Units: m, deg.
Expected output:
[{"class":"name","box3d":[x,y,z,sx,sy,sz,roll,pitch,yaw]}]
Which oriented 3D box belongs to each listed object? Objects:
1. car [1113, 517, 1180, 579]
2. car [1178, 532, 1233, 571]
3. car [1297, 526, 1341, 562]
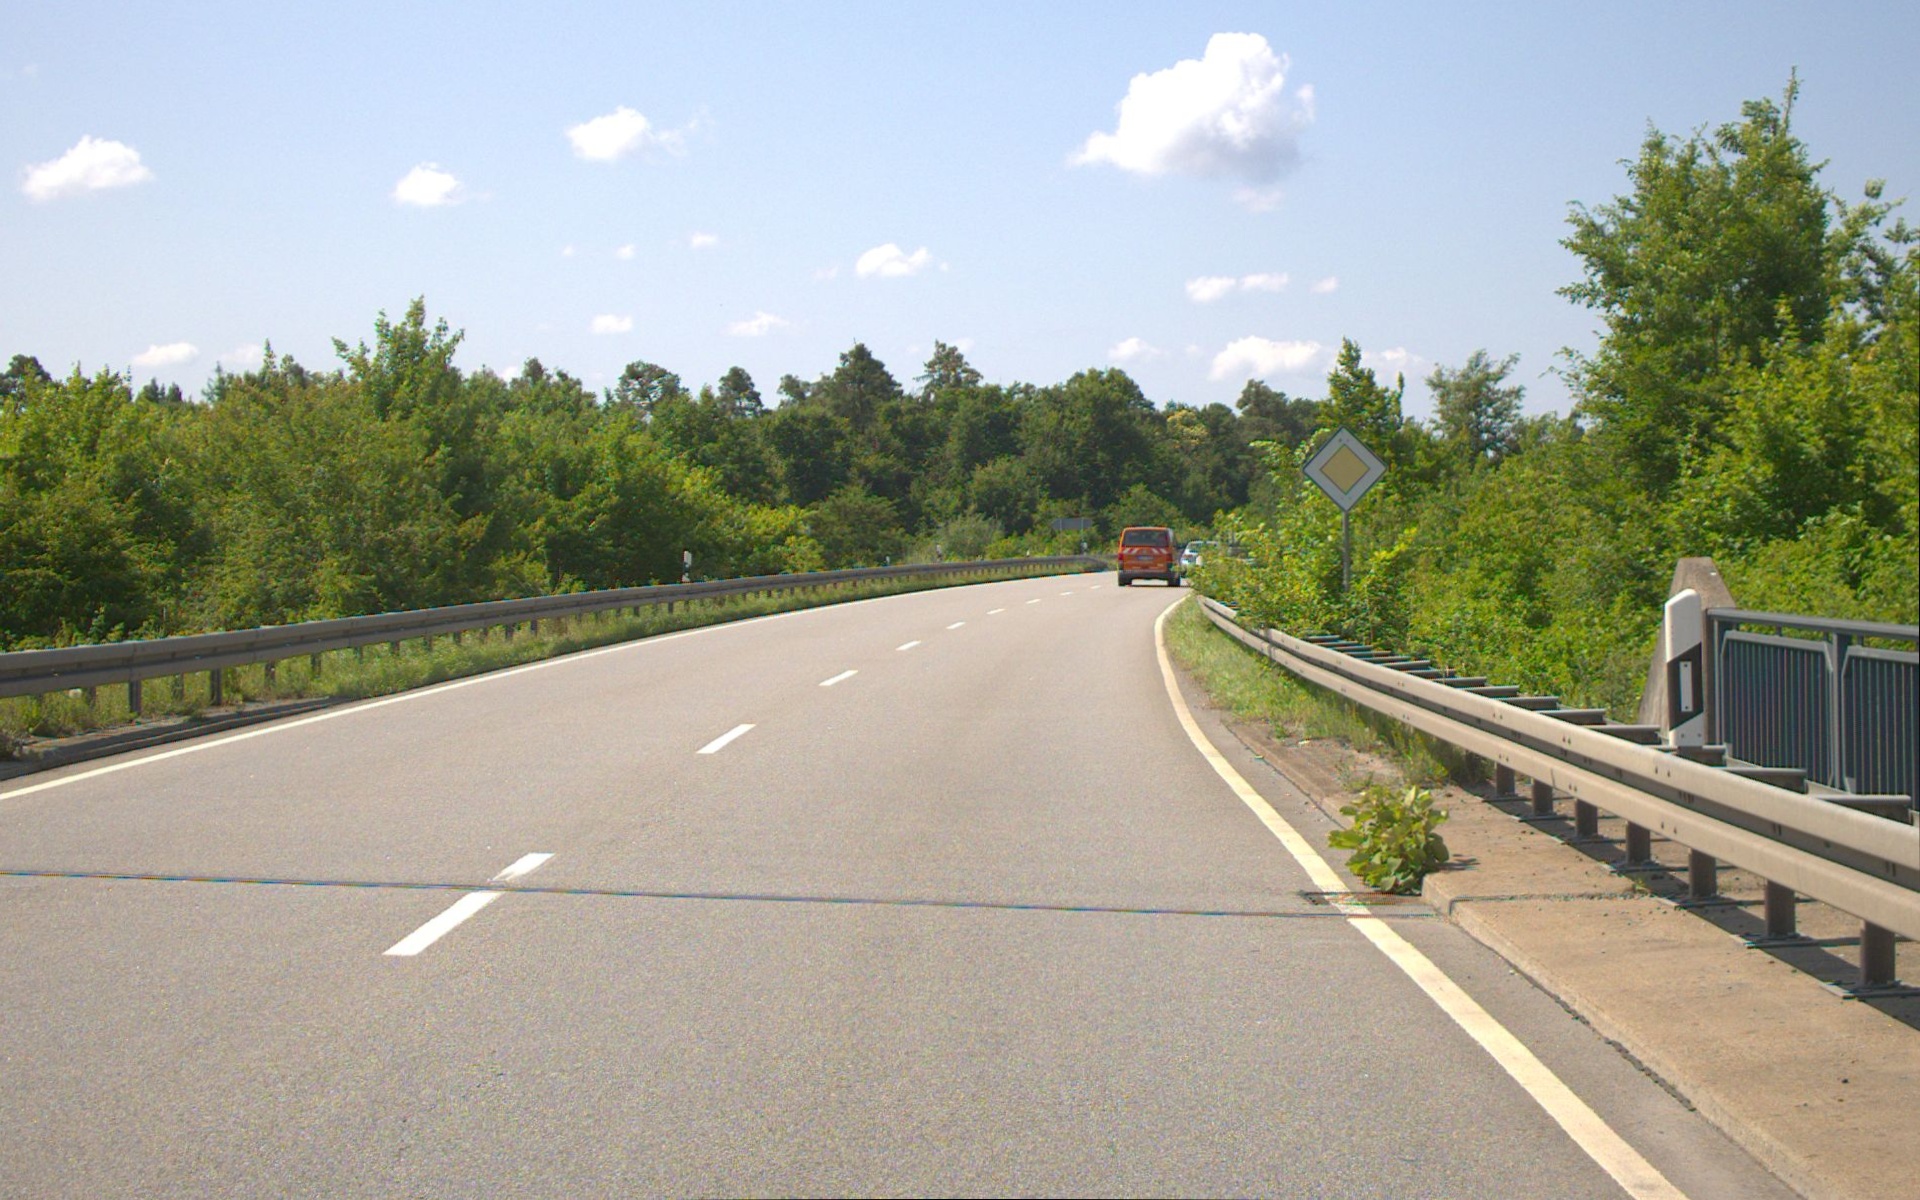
[{"class":"car","box3d":[6.160,-1.716,113.867,2.077,1.986,5.111,1,1,2]},{"class":"car","box3d":[9.737,-1.910,136.368,2.007,1.488,4.238,1,1,2]},{"class":"car","box3d":[20.360,-3.191,195.025,2.185,1.948,5.803,1,1,3]}]
